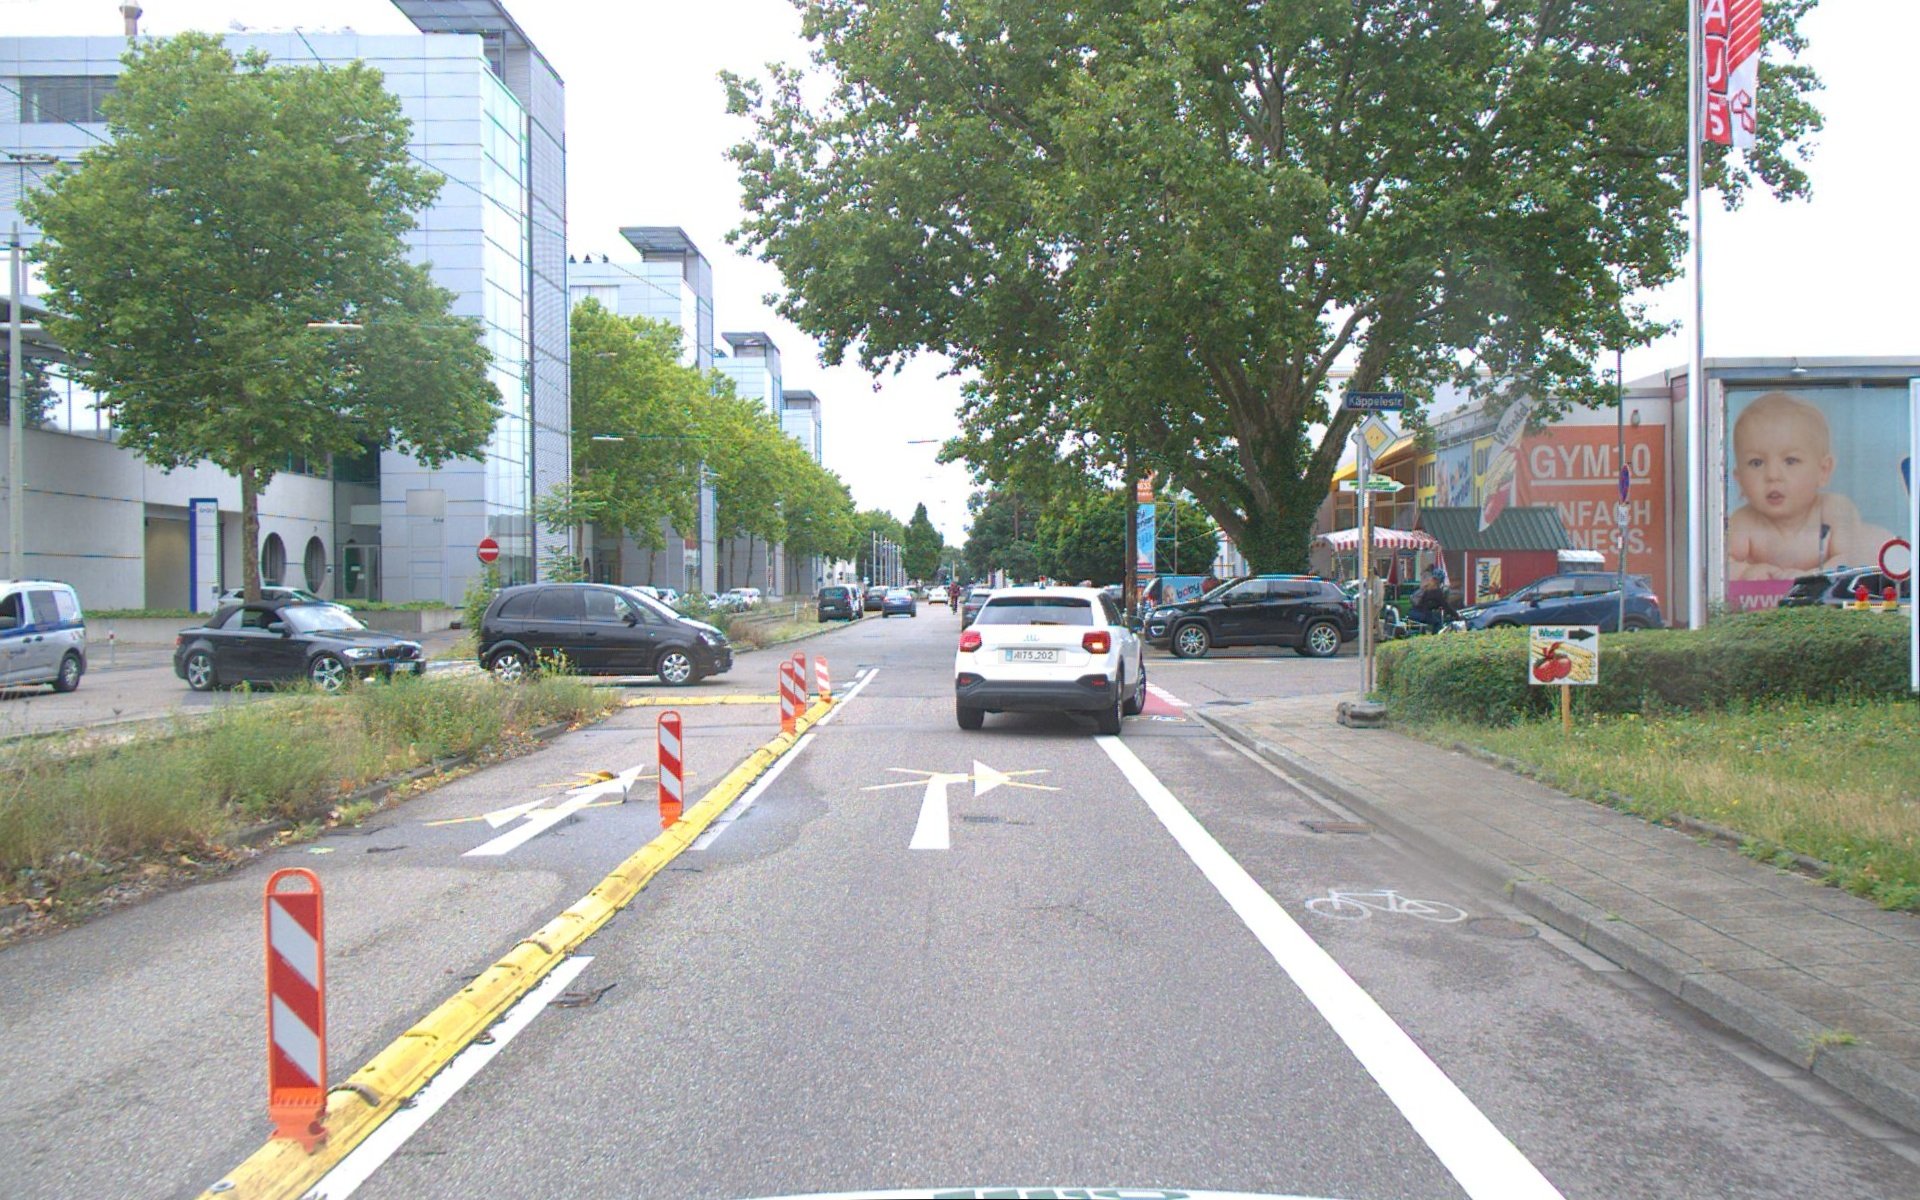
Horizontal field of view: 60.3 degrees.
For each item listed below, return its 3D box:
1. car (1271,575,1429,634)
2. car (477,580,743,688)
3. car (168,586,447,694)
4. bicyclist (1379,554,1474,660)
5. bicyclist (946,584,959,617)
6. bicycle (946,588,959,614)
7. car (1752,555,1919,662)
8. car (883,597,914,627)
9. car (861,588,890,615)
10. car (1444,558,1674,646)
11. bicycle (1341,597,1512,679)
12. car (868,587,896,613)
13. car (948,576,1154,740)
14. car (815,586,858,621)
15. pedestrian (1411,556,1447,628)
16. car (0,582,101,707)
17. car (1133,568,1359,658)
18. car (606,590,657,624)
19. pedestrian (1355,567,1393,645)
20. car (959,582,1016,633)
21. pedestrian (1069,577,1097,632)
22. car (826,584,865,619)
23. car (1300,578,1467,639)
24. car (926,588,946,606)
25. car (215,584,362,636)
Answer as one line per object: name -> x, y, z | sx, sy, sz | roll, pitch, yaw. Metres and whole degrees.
car -> 11.263, 0.119, 47.907 | 4.128, 1.579, 1.789 | -1, 0, -3
car -> -5.489, 0.524, 26.311 | 3.804, 1.583, 1.825 | 1, 0, 0
car -> -10.115, 0.637, 25.614 | 4.037, 1.501, 1.823 | -2, -2, 28
bicyclist -> 7.490, 0.104, 26.568 | 1.212, 1.658, 0.815 | -1, 0, -18
bicyclist -> -0.418, 0.039, 93.784 | 0.657, 1.847, 0.759 | 1, 0, -3
bicycle -> -0.425, 0.039, 93.751 | 0.657, 1.418, 2.166 | 1, 1, -3
car -> 15.262, 0.100, 26.204 | 4.460, 1.599, 1.993 | -1, 0, 0
car -> -3.321, 0.643, 88.988 | 1.650, 1.540, 3.704 | 1, 1, -3
car -> -5.853, 0.085, 115.273 | 1.839, 1.794, 3.999 | -1, 0, -1
car -> 12.257, 0.039, 34.094 | 4.123, 1.706, 1.994 | -1, 0, 8
bicycle -> 7.501, 0.589, 26.572 | 2.633, 1.234, 0.815 | -1, 0, -18
car -> -5.660, 0.000, 120.487 | 1.839, 1.794, 3.999 | -1, 0, -1
car -> 1.125, 0.556, 18.601 | 1.784, 1.628, 3.779 | 1, 1, 11
car -> -6.007, 0.145, 81.055 | 1.839, 1.661, 3.999 | -1, 0, -1
pedestrian -> 11.478, -0.190, 40.516 | 0.665, 1.734, 0.598 | -1, 0, -2
car -> -14.868, 0.663, 24.834 | 1.783, 1.814, 4.424 | -1, 0, -3
car -> 5.726, 0.251, 33.504 | 4.225, 1.706, 1.993 | -1, 0, 0
car -> -17.040, 0.344, 85.926 | 1.839, 1.661, 4.205 | -1, 0, -1
pedestrian -> 9.410, 0.135, 37.620 | 0.665, 1.734, 0.598 | -1, 0, -2
car -> 0.918, 0.241, 57.299 | 1.839, 1.661, 3.999 | -1, 0, -1
pedestrian -> 3.948, 0.126, 53.067 | 0.745, 1.734, 0.681 | -1, 0, -5
car -> -5.984, 0.059, 86.870 | 1.839, 1.794, 3.999 | -1, 0, -1
car -> 11.675, 0.230, 45.762 | 4.128, 1.579, 1.789 | -1, 0, -3
car -> -2.196, -0.293, 150.618 | 1.759, 1.540, 3.704 | 1, 1, -3
car -> -23.768, 0.354, 58.660 | 4.421, 1.699, 1.824 | 1, 0, -3
